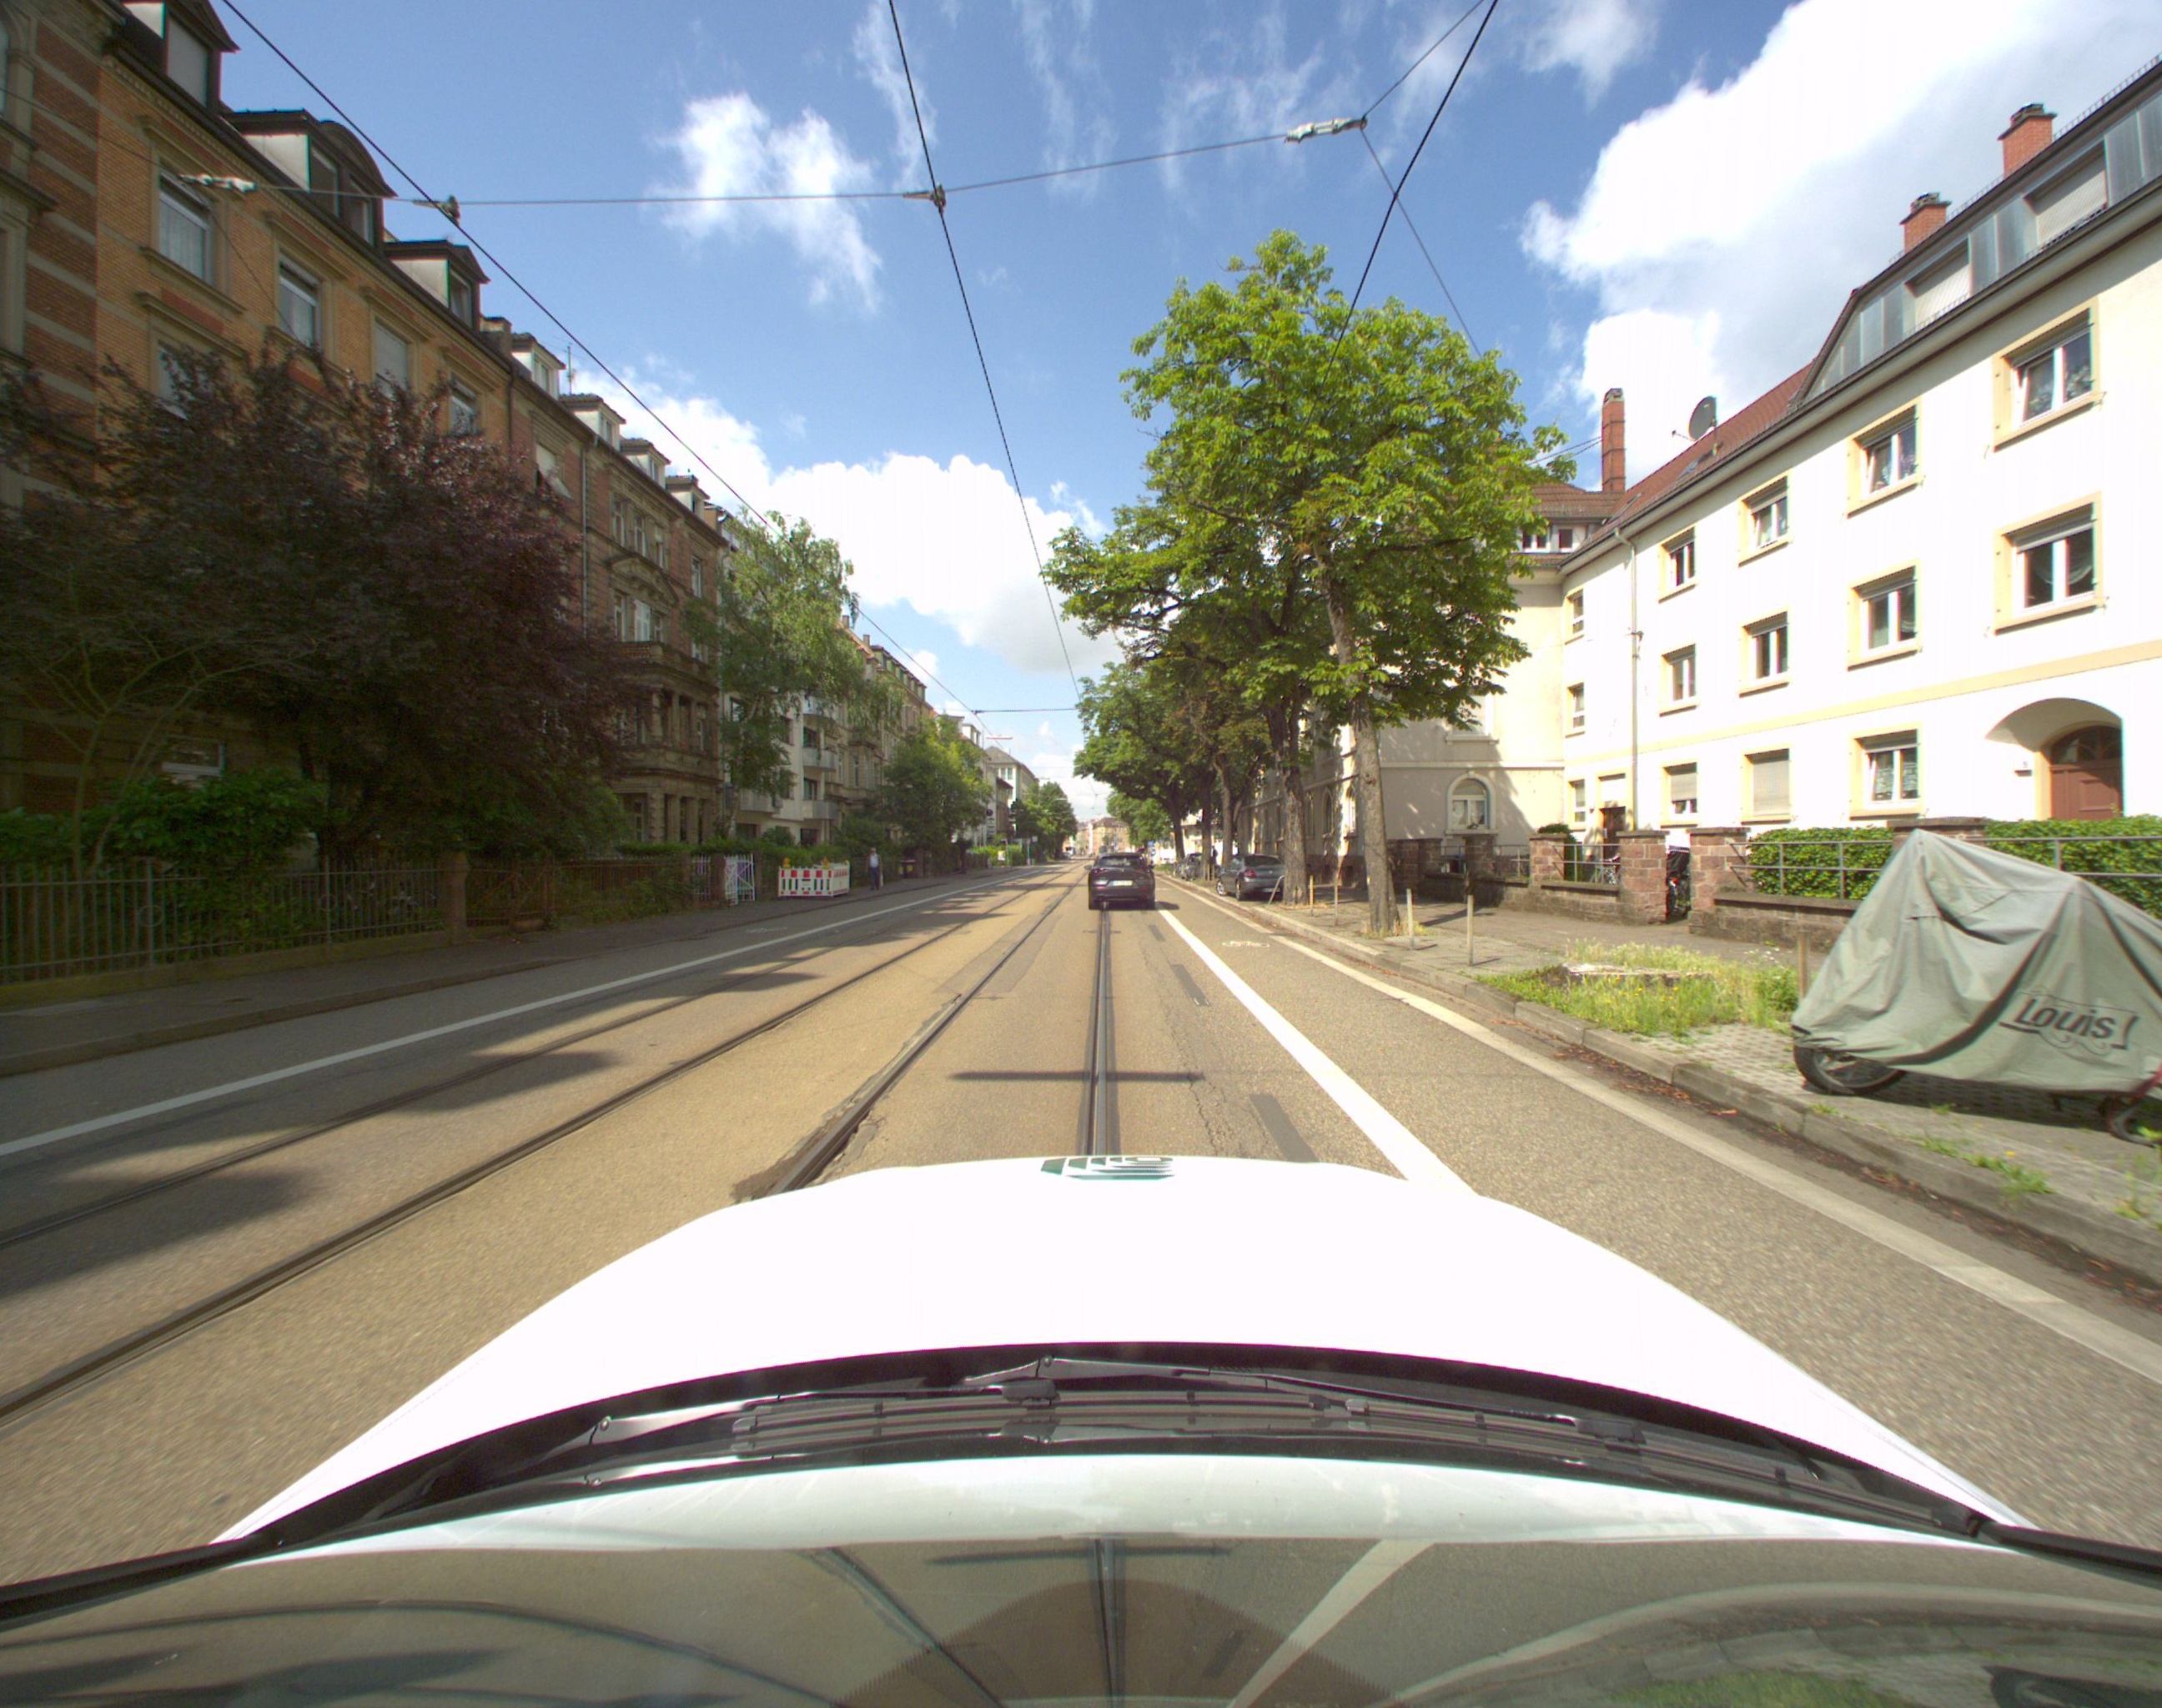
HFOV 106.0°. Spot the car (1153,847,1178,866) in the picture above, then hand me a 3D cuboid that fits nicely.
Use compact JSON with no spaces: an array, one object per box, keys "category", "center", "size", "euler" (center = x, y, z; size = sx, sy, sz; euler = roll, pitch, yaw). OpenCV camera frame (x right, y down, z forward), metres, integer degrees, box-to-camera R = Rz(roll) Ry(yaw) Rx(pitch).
[{"category":"car","center":[8.909,0.231,85.919],"size":[1.784,1.938,4.983],"euler":[-1,0,-4]}]

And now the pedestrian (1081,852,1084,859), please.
[{"category":"pedestrian","center":[0.514,0.424,241.074],"size":[0.882,2.013,0.617],"euler":[-1,0,-3]}]

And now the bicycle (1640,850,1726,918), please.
[{"category":"bicycle","center":[11.265,0.530,15.305],"size":[0.410,1.211,1.705],"euler":[-1,0,2]}]

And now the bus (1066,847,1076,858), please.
[{"category":"bus","center":[-3.270,-0.374,262.848],"size":[2.683,3.421,11.000],"euler":[2,0,-4]}]

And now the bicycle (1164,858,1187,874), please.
[{"category":"bicycle","center":[6.275,0.793,53.858],"size":[1.485,0.983,0.259],"euler":[-1,-1,3]}]

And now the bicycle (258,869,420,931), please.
[{"category":"bicycle","center":[-13.095,0.795,14.422],"size":[2.203,1.019,0.466],"euler":[-1,0,-9]}]

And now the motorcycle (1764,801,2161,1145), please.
[{"category":"motorcycle","center":[5.060,0.544,4.175],"size":[2.357,1.597,0.683],"euler":[2,1,40]}]

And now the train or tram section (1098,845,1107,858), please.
[{"category":"train or tram section","center":[6.751,-0.734,251.840],"size":[2.561,3.772,13.032],"euler":[-1,0,2]}]

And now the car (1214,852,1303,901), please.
[{"category":"car","center":[5.739,0.692,26.913],"size":[1.841,1.409,4.392],"euler":[-2,0,-1]}]

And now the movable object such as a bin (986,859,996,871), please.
[{"category":"movable object such as a bin","center":[-8.283,1.012,74.814],"size":[0.742,0.988,1.114],"euler":[2,0,1]}]

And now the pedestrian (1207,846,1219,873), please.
[{"category":"pedestrian","center":[9.258,0.379,57.081],"size":[0.608,1.836,0.878],"euler":[-1,-2,-1]}]

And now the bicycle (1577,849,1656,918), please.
[{"category":"bicycle","center":[9.978,0.521,15.242],"size":[0.410,1.211,1.705],"euler":[-1,0,2]}]

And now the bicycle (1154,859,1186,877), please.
[{"category":"bicycle","center":[5.371,0.856,49.030],"size":[1.896,1.072,0.402],"euler":[0,0,1]}]

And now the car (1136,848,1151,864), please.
[{"category":"car","center":[7.847,0.227,102.779],"size":[1.714,1.968,4.209],"euler":[-1,0,2]}]

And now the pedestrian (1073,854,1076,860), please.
[{"category":"pedestrian","center":[-1.800,0.770,216.752],"size":[0.749,1.510,0.823],"euler":[-1,0,-3]}]

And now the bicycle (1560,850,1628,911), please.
[{"category":"bicycle","center":[10.753,0.534,17.123],"size":[0.410,1.211,1.705],"euler":[-1,0,2]}]

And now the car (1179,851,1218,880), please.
[{"category":"car","center":[6.338,0.601,44.333],"size":[1.659,1.430,3.768],"euler":[-3,0,2]}]

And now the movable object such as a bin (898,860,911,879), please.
[{"category":"movable object such as a bin","center":[-10.490,0.926,48.454],"size":[0.546,1.108,0.791],"euler":[-1,0,6]}]

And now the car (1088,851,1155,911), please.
[{"category":"car","center":[1.080,0.697,22.703],"size":[1.714,1.526,3.590],"euler":[-1,0,1]}]

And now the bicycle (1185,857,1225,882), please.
[{"category":"bicycle","center":[6.149,0.771,40.255],"size":[1.881,1.176,0.515],"euler":[-2,-1,13]}]

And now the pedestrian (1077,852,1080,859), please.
[{"category":"pedestrian","center":[-0.688,0.471,241.090],"size":[0.882,2.013,0.617],"euler":[-1,0,-3]}]

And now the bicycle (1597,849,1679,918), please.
[{"category":"bicycle","center":[10.398,0.516,15.260],"size":[0.410,1.211,1.705],"euler":[-1,0,2]}]

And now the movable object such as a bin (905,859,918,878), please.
[{"category":"movable object such as a bin","center":[-10.030,0.876,48.197],"size":[0.535,1.094,0.791],"euler":[-1,0,6]}]

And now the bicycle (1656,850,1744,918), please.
[{"category":"bicycle","center":[11.656,0.525,15.396],"size":[0.410,1.211,1.705],"euler":[-1,0,2]}]

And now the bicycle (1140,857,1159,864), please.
[{"category":"bicycle","center":[8.403,0.818,99.407],"size":[2.267,0.861,0.672],"euler":[-1,0,0]}]

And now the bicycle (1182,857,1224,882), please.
[{"category":"bicycle","center":[5.958,0.762,39.741],"size":[1.923,1.176,0.515],"euler":[-2,-1,13]}]

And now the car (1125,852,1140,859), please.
[{"category":"car","center":[14.469,0.438,227.821],"size":[3.815,1.618,1.628],"euler":[2,0,-17]}]

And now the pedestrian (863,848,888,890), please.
[{"category":"pedestrian","center":[-8.581,0.620,34.096],"size":[0.820,1.706,0.891],"euler":[-1,0,-2]}]

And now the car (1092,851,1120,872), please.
[{"category":"car","center":[1.923,0.558,63.009],"size":[1.986,1.529,4.001],"euler":[2,0,1]}]

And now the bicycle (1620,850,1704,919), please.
[{"category":"bicycle","center":[10.850,0.535,15.274],"size":[0.410,1.211,1.705],"euler":[-1,0,2]}]

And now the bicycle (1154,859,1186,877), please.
[{"category":"bicycle","center":[5.383,0.839,49.489],"size":[1.896,1.072,0.402],"euler":[0,0,1]}]
